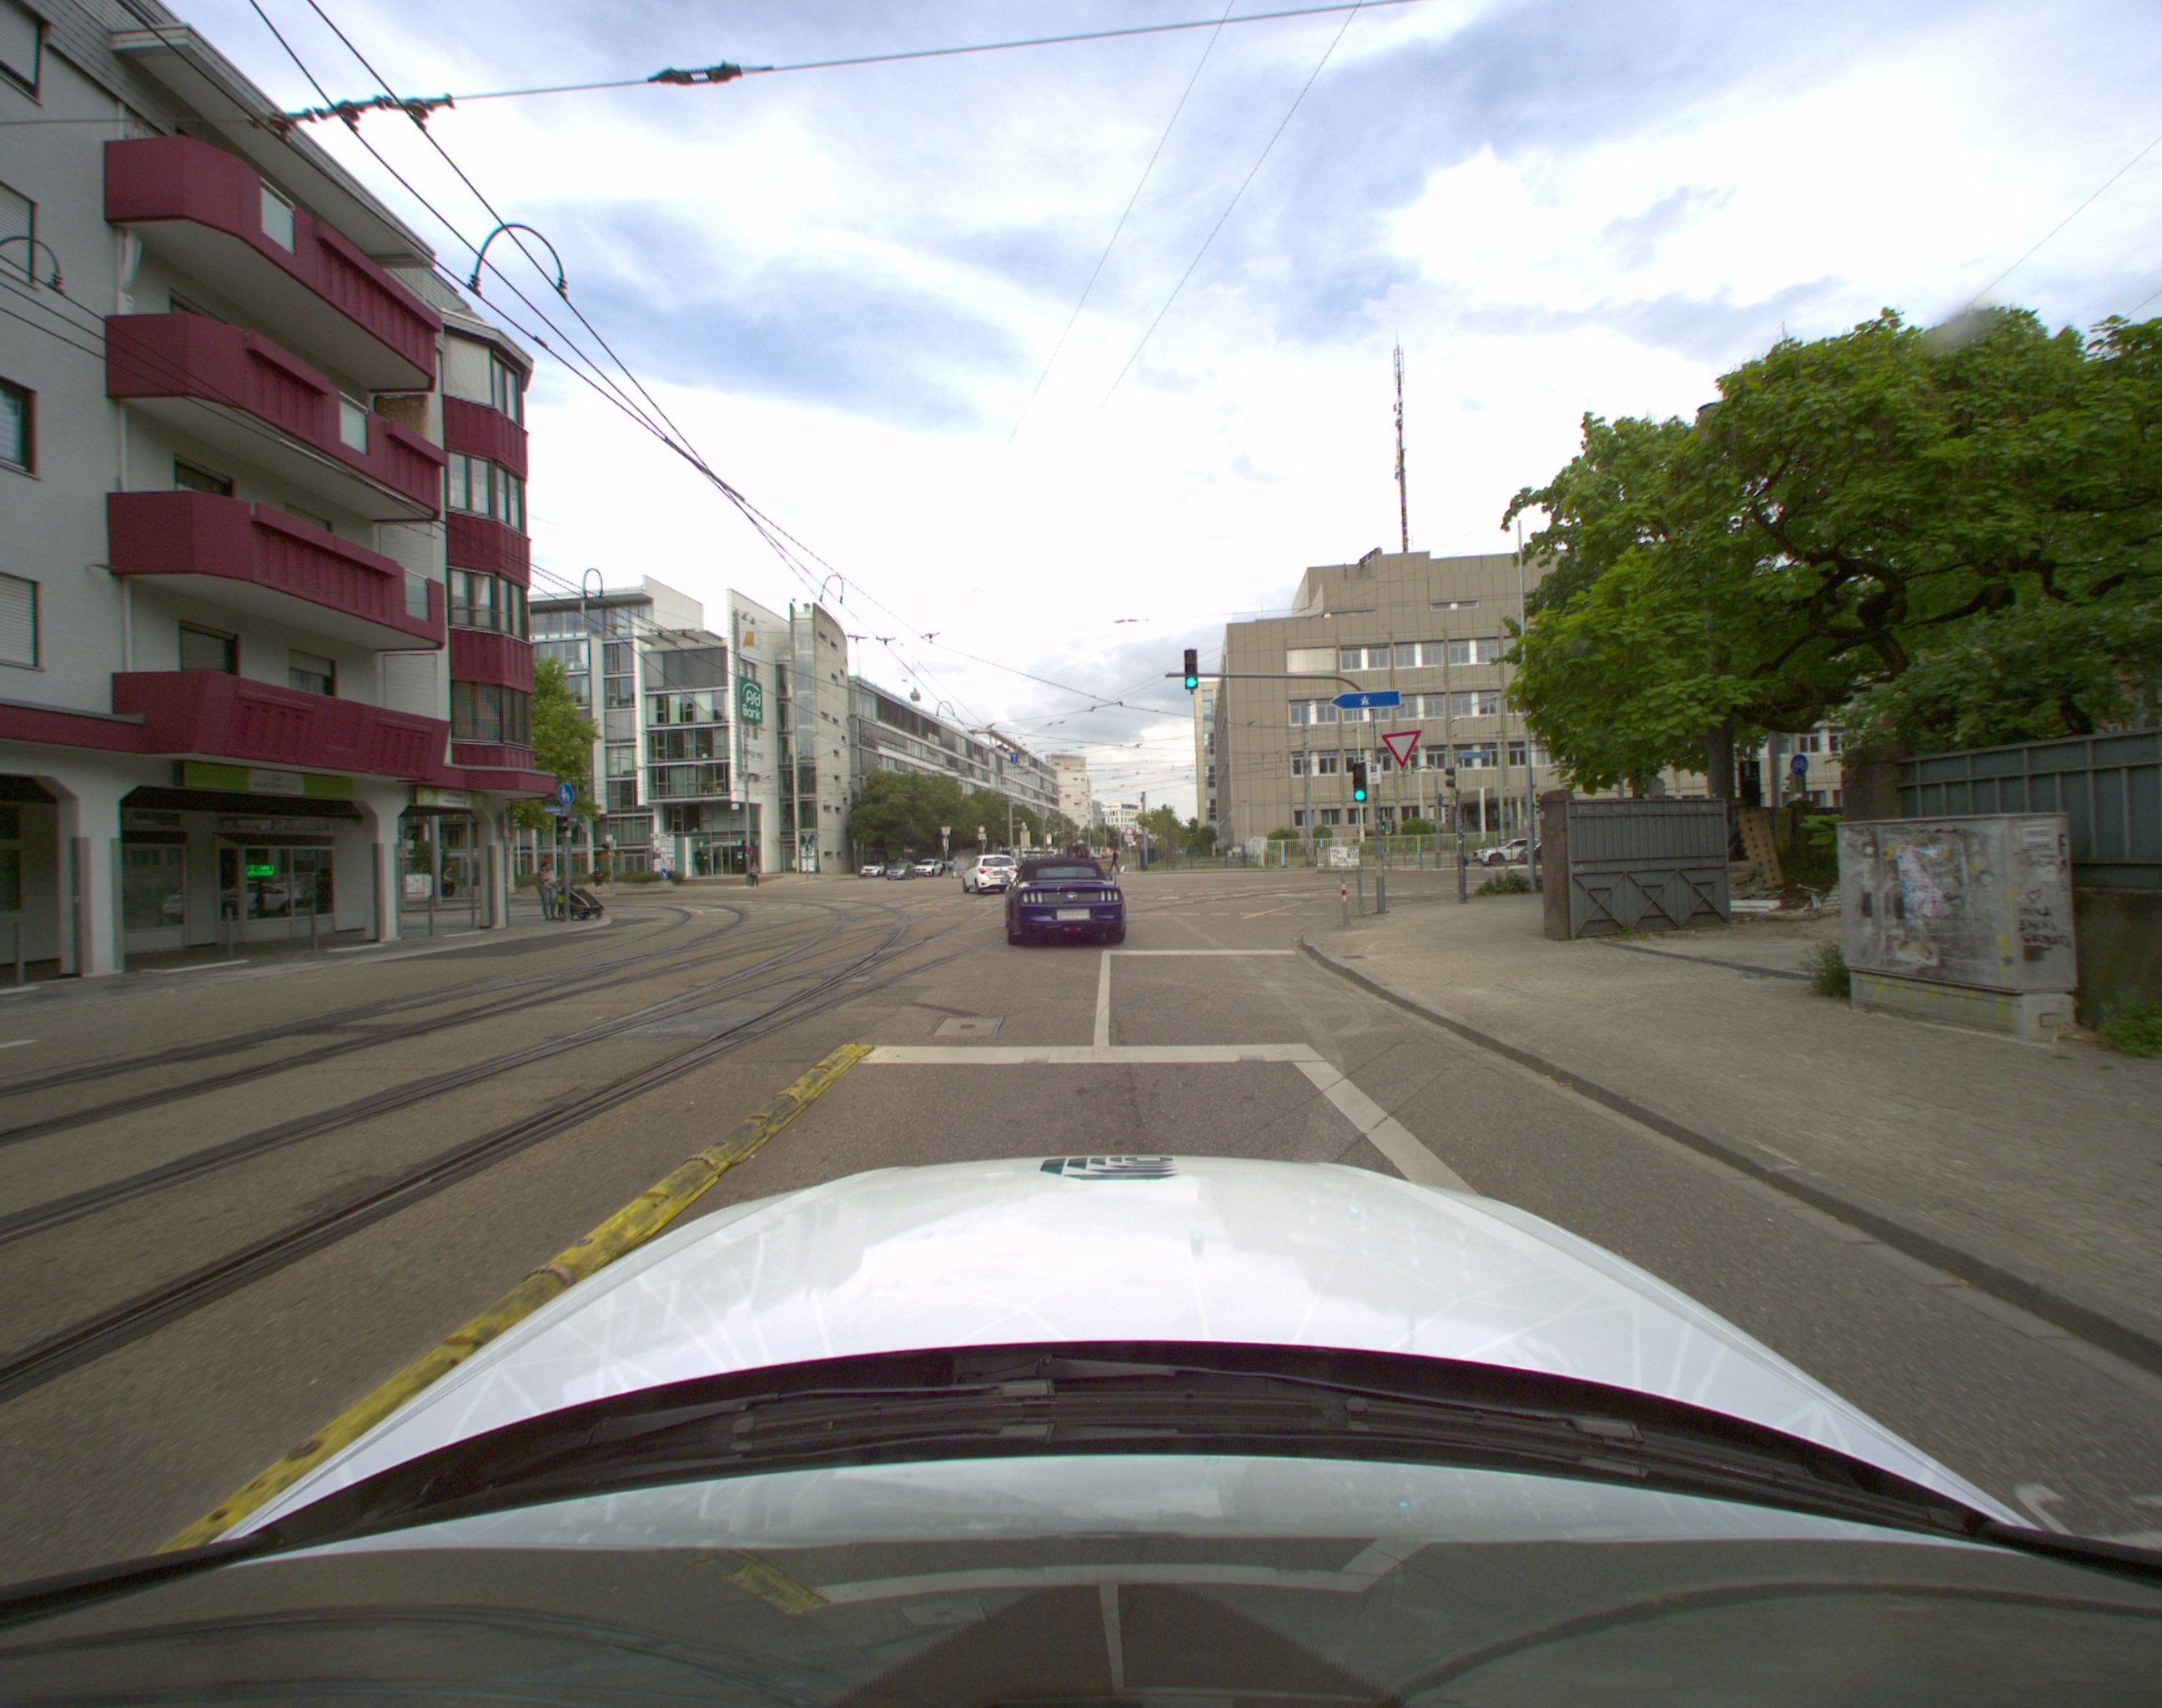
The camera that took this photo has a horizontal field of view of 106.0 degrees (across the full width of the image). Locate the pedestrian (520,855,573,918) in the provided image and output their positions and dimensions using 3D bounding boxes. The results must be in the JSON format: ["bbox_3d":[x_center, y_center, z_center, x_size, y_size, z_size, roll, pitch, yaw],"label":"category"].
[{"bbox_3d":[-15.288,0.907,23.323,0.944,1.743,0.812,-2,0,-1],"label":"pedestrian"}]

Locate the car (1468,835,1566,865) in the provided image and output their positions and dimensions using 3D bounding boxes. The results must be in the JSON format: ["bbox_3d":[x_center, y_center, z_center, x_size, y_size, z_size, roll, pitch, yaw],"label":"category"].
[{"bbox_3d":[24.385,-0.239,45.698,4.380,1.504,2.005,-2,0,9],"label":"car"}]

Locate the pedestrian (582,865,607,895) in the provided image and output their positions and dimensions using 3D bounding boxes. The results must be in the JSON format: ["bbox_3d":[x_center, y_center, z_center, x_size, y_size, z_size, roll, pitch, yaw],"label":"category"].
[{"bbox_3d":[-28.052,1.498,46.982,0.928,1.671,0.769,-2,0,15],"label":"pedestrian"}]

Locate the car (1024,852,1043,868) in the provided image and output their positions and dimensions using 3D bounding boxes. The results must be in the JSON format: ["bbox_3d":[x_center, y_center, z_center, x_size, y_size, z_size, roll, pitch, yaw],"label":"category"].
[{"bbox_3d":[-6.024,0.712,103.650,1.778,1.987,4.124,-2,0,3],"label":"car"}]

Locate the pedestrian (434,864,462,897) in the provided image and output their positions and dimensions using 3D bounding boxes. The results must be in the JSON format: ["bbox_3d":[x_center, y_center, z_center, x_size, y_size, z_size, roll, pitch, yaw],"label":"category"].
[{"bbox_3d":[-36.543,1.502,47.020,0.839,1.855,0.841,-2,0,1],"label":"pedestrian"}]

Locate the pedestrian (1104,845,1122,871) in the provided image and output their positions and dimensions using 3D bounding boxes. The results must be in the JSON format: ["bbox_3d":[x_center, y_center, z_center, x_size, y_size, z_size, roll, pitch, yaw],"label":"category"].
[{"bbox_3d":[2.396,0.315,60.764,1.078,1.898,0.905,-2,0,12],"label":"pedestrian"}]

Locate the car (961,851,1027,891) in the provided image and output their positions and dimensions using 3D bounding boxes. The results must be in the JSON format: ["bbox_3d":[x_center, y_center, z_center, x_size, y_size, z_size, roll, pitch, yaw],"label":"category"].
[{"bbox_3d":[-3.531,0.645,32.237,1.839,1.439,4.163,-2,0,-17],"label":"car"}]

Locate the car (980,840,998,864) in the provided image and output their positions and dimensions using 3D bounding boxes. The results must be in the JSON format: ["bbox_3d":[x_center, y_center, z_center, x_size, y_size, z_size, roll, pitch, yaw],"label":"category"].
[{"bbox_3d":[-13.977,-0.333,123.710,1.977,3.636,4.518,0,0,4],"label":"car"}]

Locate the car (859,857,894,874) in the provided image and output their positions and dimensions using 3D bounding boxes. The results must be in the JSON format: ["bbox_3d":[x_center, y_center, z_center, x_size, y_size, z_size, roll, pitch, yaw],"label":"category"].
[{"bbox_3d":[-19.876,1.134,79.355,1.820,1.556,4.225,0,0,7],"label":"car"}]

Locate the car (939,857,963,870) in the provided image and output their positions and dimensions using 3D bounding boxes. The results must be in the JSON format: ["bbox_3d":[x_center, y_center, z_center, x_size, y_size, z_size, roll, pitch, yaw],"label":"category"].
[{"bbox_3d":[-16.703,1.216,104.776,1.977,1.556,4.518,0,0,4],"label":"car"}]

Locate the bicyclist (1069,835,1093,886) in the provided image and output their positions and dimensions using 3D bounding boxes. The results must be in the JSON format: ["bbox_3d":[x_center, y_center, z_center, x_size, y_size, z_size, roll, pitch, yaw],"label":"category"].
[{"bbox_3d":[0.019,0.236,29.953,0.793,1.785,1.233,-2,0,1],"label":"bicyclist"}]

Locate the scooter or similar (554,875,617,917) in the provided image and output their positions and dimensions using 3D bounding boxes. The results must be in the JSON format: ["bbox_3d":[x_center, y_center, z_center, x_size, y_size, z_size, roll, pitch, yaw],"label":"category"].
[{"bbox_3d":[-14.183,1.181,23.359,1.191,1.128,0.947,-1,0,0],"label":"scooter or similar"}]

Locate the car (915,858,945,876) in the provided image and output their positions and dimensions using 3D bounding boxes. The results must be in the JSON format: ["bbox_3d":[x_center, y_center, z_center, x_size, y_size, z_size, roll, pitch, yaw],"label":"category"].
[{"bbox_3d":[-14.512,1.189,78.603,1.706,1.660,4.141,0,0,7],"label":"car"}]

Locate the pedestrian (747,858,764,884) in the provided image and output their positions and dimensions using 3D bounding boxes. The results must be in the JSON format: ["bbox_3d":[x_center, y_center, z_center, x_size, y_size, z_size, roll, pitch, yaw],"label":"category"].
[{"bbox_3d":[-24.268,1.275,60.780,0.827,1.865,0.769,-2,0,15],"label":"pedestrian"}]

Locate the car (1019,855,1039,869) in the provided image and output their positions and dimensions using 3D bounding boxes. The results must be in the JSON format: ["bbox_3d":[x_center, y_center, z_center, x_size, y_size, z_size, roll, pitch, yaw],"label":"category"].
[{"bbox_3d":[-6.294,0.946,98.733,1.860,1.605,4.216,-2,0,3],"label":"car"}]

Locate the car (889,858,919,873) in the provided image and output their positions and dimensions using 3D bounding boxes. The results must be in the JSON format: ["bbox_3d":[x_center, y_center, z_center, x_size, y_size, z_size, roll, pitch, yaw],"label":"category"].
[{"bbox_3d":[-18.791,1.191,86.635,1.820,1.556,4.225,0,0,7],"label":"car"}]

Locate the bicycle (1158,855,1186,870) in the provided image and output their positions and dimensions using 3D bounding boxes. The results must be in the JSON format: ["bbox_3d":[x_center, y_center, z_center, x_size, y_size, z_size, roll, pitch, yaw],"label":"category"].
[{"bbox_3d":[6.708,0.627,60.160,0.637,0.981,2.133,-2,-3,-39],"label":"bicycle"}]

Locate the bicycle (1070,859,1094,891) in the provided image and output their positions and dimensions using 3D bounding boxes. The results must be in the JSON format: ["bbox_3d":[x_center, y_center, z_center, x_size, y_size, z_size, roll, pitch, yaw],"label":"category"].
[{"bbox_3d":[0.041,0.760,29.777,0.797,1.086,2.132,-2,0,1],"label":"bicycle"}]

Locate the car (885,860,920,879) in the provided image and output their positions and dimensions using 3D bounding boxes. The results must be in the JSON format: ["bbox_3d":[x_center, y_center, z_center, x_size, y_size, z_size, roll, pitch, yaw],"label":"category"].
[{"bbox_3d":[-15.588,1.335,71.263,1.659,1.506,4.243,0,0,7],"label":"car"}]

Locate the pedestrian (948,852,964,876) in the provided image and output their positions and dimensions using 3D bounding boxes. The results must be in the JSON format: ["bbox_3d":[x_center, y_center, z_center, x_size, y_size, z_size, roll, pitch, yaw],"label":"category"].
[{"bbox_3d":[-9.949,0.765,64.955,0.984,1.855,0.903,-2,0,6],"label":"pedestrian"}]

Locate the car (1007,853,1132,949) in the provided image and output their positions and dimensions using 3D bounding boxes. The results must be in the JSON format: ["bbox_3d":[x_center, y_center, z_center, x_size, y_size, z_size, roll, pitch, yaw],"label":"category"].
[{"bbox_3d":[-0.349,0.696,14.336,1.873,1.404,4.274,0,0,-5],"label":"car"}]
